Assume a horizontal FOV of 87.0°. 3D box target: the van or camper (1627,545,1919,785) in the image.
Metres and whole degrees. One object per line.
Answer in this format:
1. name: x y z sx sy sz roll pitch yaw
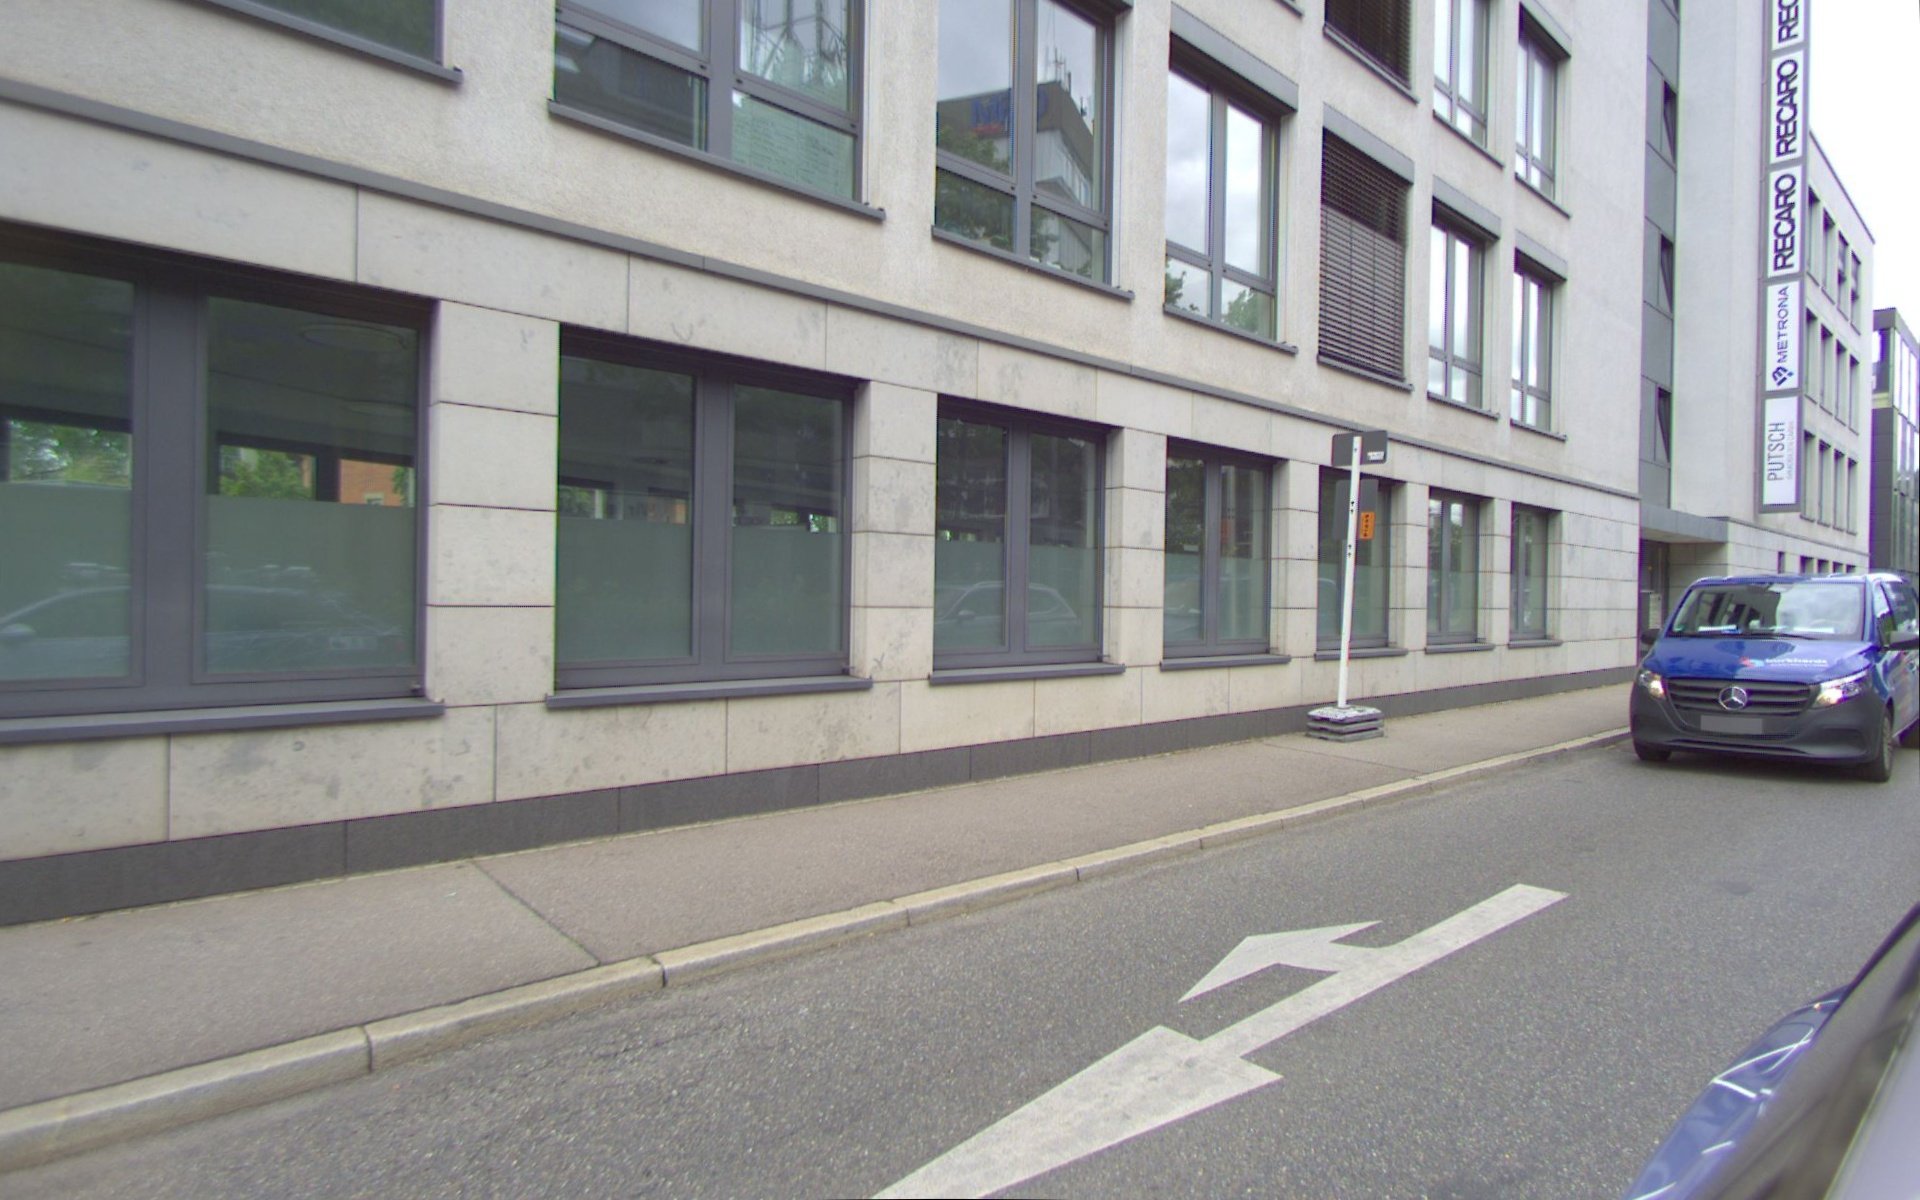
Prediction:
1. van or camper: 8.798 0.500 10.490 4.944 1.935 1.863 0 1 -41
